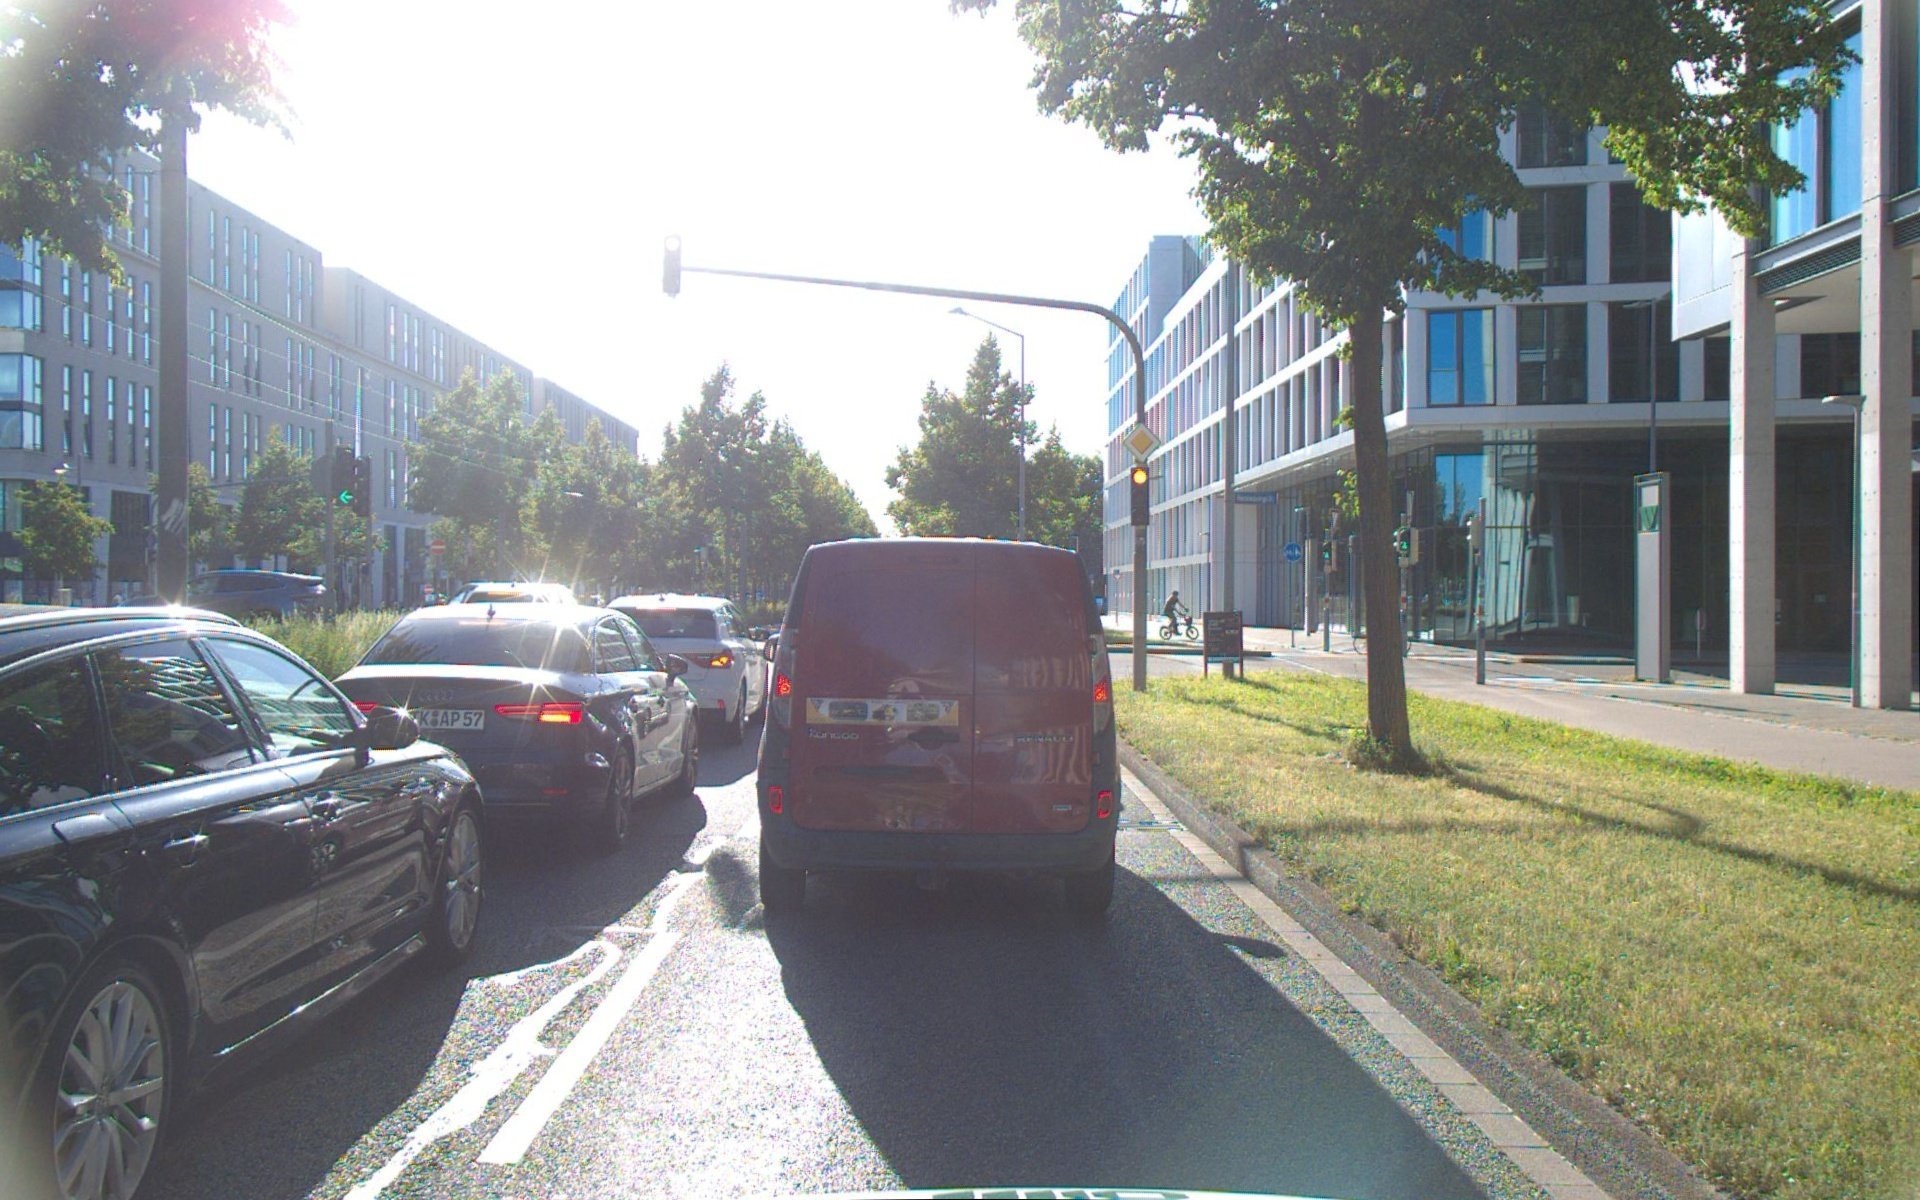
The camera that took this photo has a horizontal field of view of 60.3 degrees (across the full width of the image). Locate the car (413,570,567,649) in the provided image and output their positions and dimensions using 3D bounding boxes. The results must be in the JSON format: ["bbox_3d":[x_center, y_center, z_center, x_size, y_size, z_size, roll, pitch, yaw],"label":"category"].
[{"bbox_3d":[-9.531,0.159,33.296,1.782,1.473,4.517,0,0,-32],"label":"car"}]

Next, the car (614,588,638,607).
[{"bbox_3d":[-36.722,-0.271,181.845,1.953,2.049,3.999,0,0,-1],"label":"car"}]

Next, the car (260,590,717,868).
[{"bbox_3d":[-2.784,0.665,10.829,1.804,1.451,4.338,0,0,-1],"label":"car"}]

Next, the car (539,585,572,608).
[{"bbox_3d":[-36.368,-0.339,148.765,1.953,2.049,3.999,0,0,-1],"label":"car"}]

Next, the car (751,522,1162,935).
[{"bbox_3d":[-0.044,0.559,9.291,1.804,1.812,3.999,0,0,-1],"label":"car"}]

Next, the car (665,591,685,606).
[{"bbox_3d":[-37.359,-0.212,216.667,1.953,2.049,3.999,0,0,-1],"label":"car"}]

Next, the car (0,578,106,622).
[{"bbox_3d":[-33.195,-0.023,60.644,1.729,1.546,3.999,0,0,-1],"label":"car"}]

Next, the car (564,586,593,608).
[{"bbox_3d":[-36.386,-0.317,157.865,1.953,2.049,3.999,0,0,-1],"label":"car"}]

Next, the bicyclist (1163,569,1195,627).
[{"bbox_3d":[8.152,-0.089,61.598,0.923,2.129,0.815,0,0,34],"label":"bicyclist"}]

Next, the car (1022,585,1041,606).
[{"bbox_3d":[8.577,-0.529,198.456,1.953,2.540,4.986,0,0,-1],"label":"car"}]

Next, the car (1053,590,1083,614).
[{"bbox_3d":[8.328,0.140,127.968,1.953,1.813,3.999,0,0,-1],"label":"car"}]

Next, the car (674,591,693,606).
[{"bbox_3d":[-37.171,-0.190,222.293,1.953,2.049,3.999,0,0,-1],"label":"car"}]

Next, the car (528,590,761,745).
[{"bbox_3d":[-3.204,0.627,17.522,1.767,1.451,3.900,0,0,-1],"label":"car"}]

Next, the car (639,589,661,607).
[{"bbox_3d":[-37.219,-0.251,198.652,1.953,2.049,3.999,0,0,-1],"label":"car"}]

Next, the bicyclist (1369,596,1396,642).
[{"bbox_3d":[12.090,0.530,47.310,0.666,1.297,0.820,0,0,22],"label":"bicyclist"}]

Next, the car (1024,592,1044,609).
[{"bbox_3d":[8.063,0.055,179.930,1.953,1.813,3.999,0,0,-1],"label":"car"}]

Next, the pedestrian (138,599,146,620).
[{"bbox_3d":[-42.840,0.489,86.628,0.248,1.104,0.289,0,0,-1],"label":"pedestrian"}]

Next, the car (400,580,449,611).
[{"bbox_3d":[-35.284,-0.308,109.102,1.953,2.049,3.999,0,0,-1],"label":"car"}]

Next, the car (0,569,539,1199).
[{"bbox_3d":[-2.773,0.686,5.098,1.836,1.510,4.965,0,0,-2],"label":"car"}]

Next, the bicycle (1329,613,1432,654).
[{"bbox_3d":[12.037,0.943,47.337,2.779,1.134,0.820,0,0,23],"label":"bicycle"}]

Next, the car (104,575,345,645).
[{"bbox_3d":[-16.026,0.204,36.177,4.458,1.473,1.805,0,0,2],"label":"car"}]

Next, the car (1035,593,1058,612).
[{"bbox_3d":[8.420,0.225,160.735,1.953,1.813,3.999,0,0,-1],"label":"car"}]

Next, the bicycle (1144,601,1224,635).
[{"bbox_3d":[8.306,0.657,61.486,2.891,1.211,0.815,0,0,34],"label":"bicycle"}]

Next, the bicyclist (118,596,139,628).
[{"bbox_3d":[-40.422,0.591,80.380,0.663,1.556,0.714,0,0,-1],"label":"bicyclist"}]

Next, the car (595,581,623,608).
[{"bbox_3d":[-35.603,-0.561,167.808,1.953,2.653,3.999,0,0,-1],"label":"car"}]

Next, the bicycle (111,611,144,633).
[{"bbox_3d":[-40.418,1.057,80.309,0.663,1.005,1.956,0,0,-1],"label":"bicycle"}]

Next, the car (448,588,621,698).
[{"bbox_3d":[-6.275,0.581,24.824,1.483,1.518,4.215,0,0,0],"label":"car"}]
